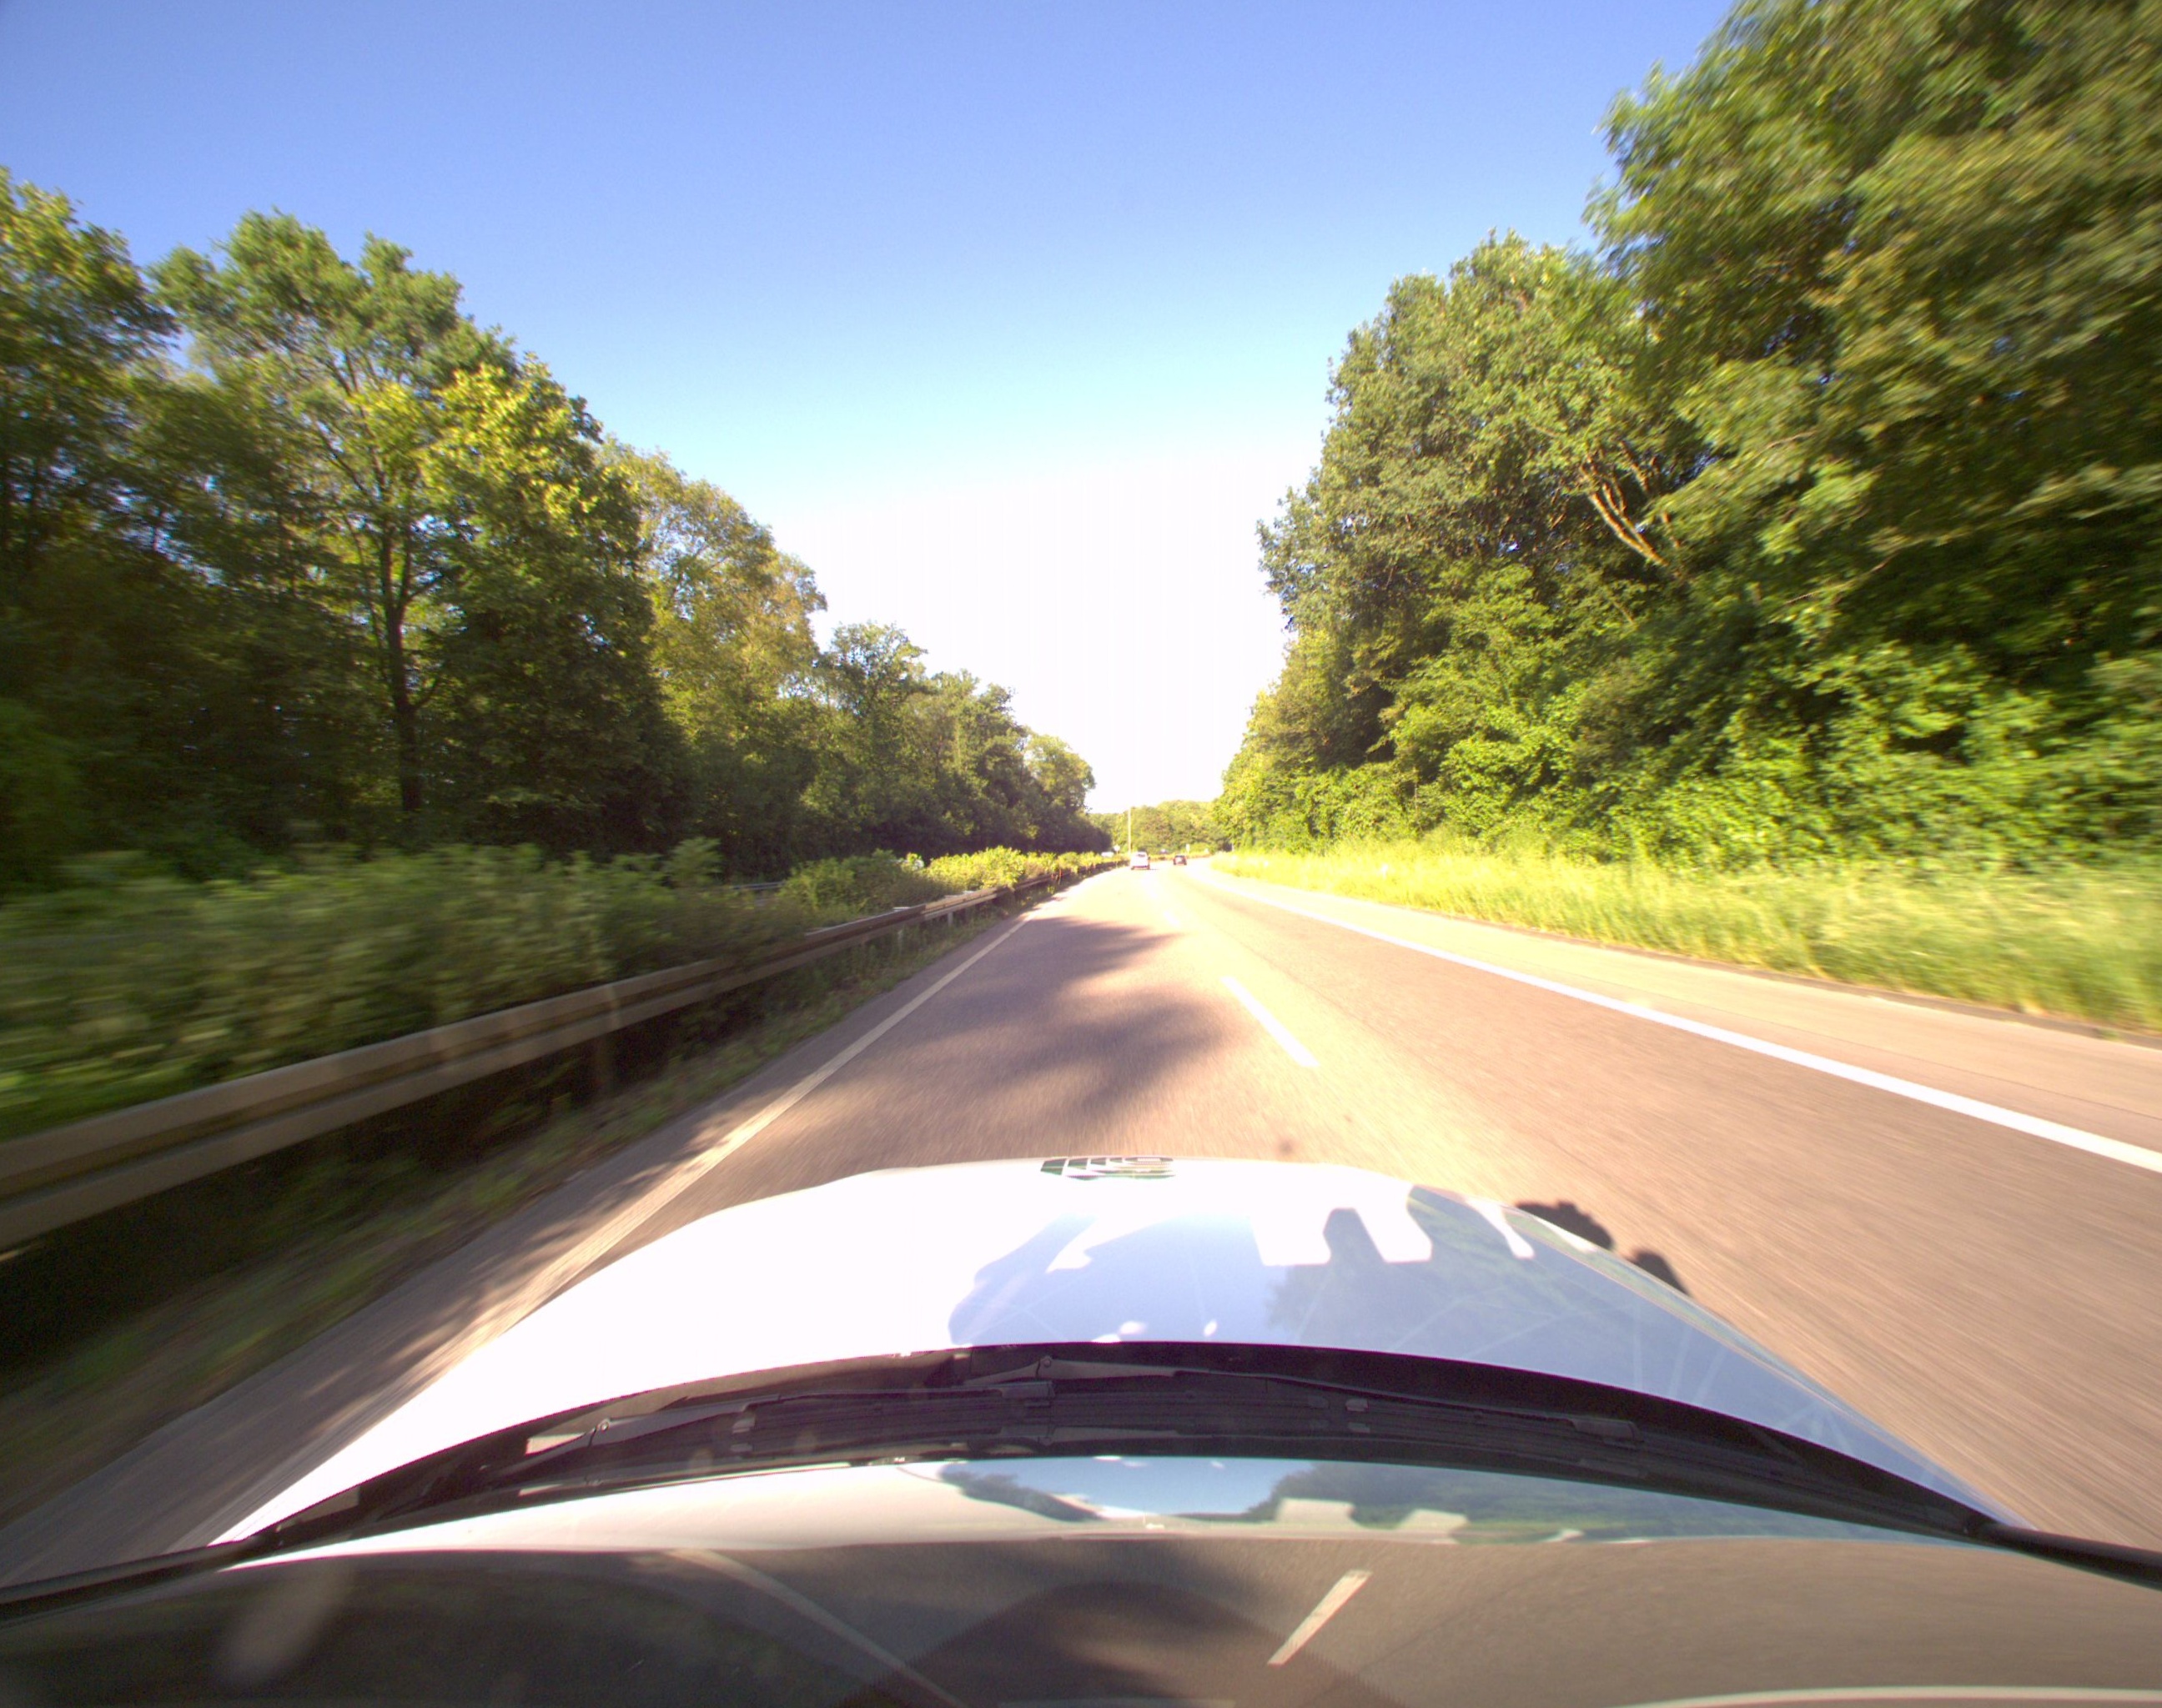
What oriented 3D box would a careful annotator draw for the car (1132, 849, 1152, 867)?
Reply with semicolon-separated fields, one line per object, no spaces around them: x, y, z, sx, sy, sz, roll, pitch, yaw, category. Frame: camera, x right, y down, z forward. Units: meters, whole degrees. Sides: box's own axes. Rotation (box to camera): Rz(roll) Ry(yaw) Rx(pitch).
6.225;0.456;83.661;1.943;1.782;4.590;-1;0;2;car

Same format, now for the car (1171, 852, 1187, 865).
13.998;0.612;115.891;1.939;1.782;4.601;-1;0;10;car

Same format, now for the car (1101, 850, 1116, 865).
4.388;0.613;128.930;1.904;2.253;5.795;-1;0;7;car

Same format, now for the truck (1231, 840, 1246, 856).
43.845;-1.511;226.603;3.708;4.343;9.339;-1;-1;14;truck

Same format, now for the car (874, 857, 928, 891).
-10.301;1.116;46.962;1.986;1.861;4.711;-1;0;1;car
